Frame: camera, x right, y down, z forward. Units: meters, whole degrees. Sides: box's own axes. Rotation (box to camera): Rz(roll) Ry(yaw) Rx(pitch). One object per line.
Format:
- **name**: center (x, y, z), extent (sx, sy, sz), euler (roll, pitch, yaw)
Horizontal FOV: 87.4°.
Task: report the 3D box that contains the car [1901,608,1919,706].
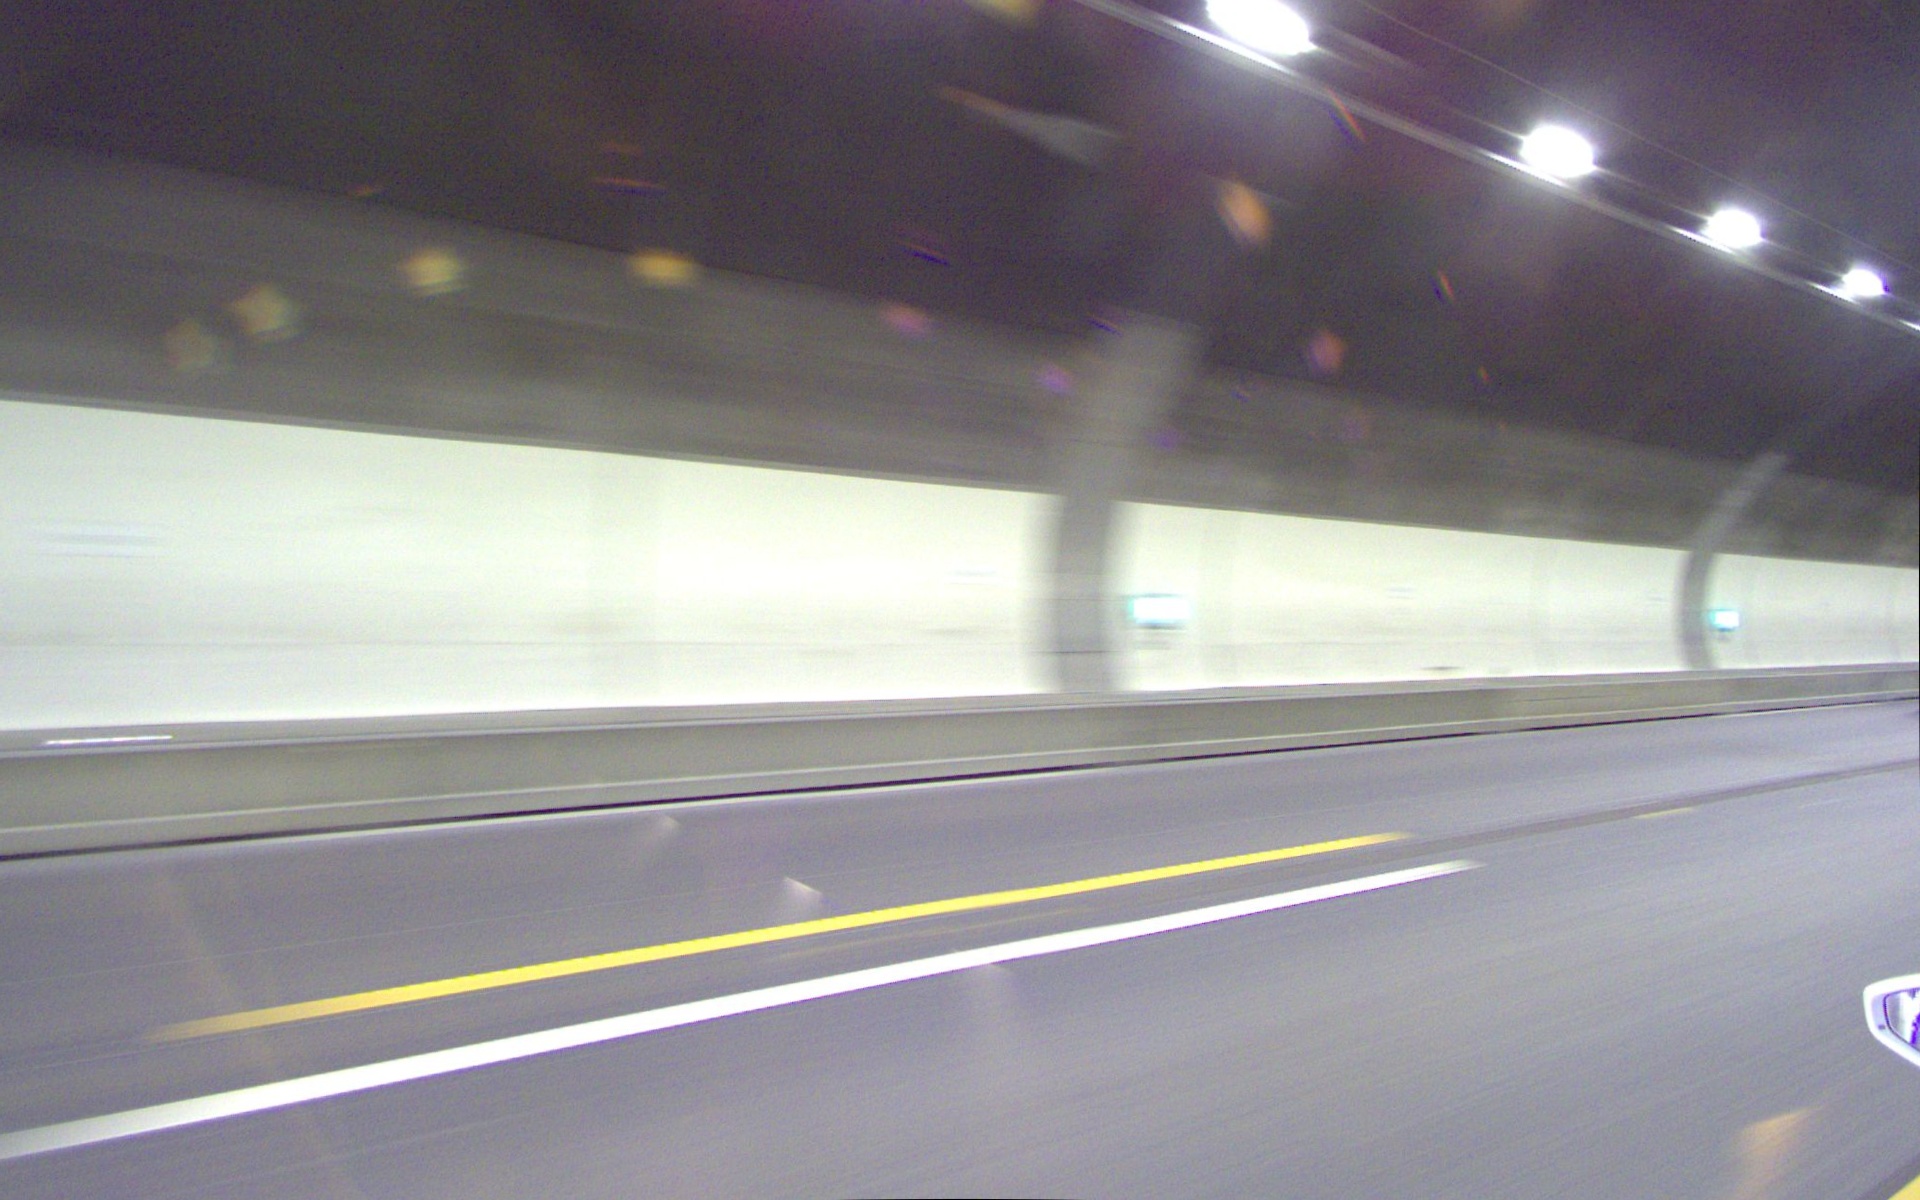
- **car**: center (17.791, 1.029, 16.558), extent (4.686, 1.561, 1.984), euler (2, 1, -30)
